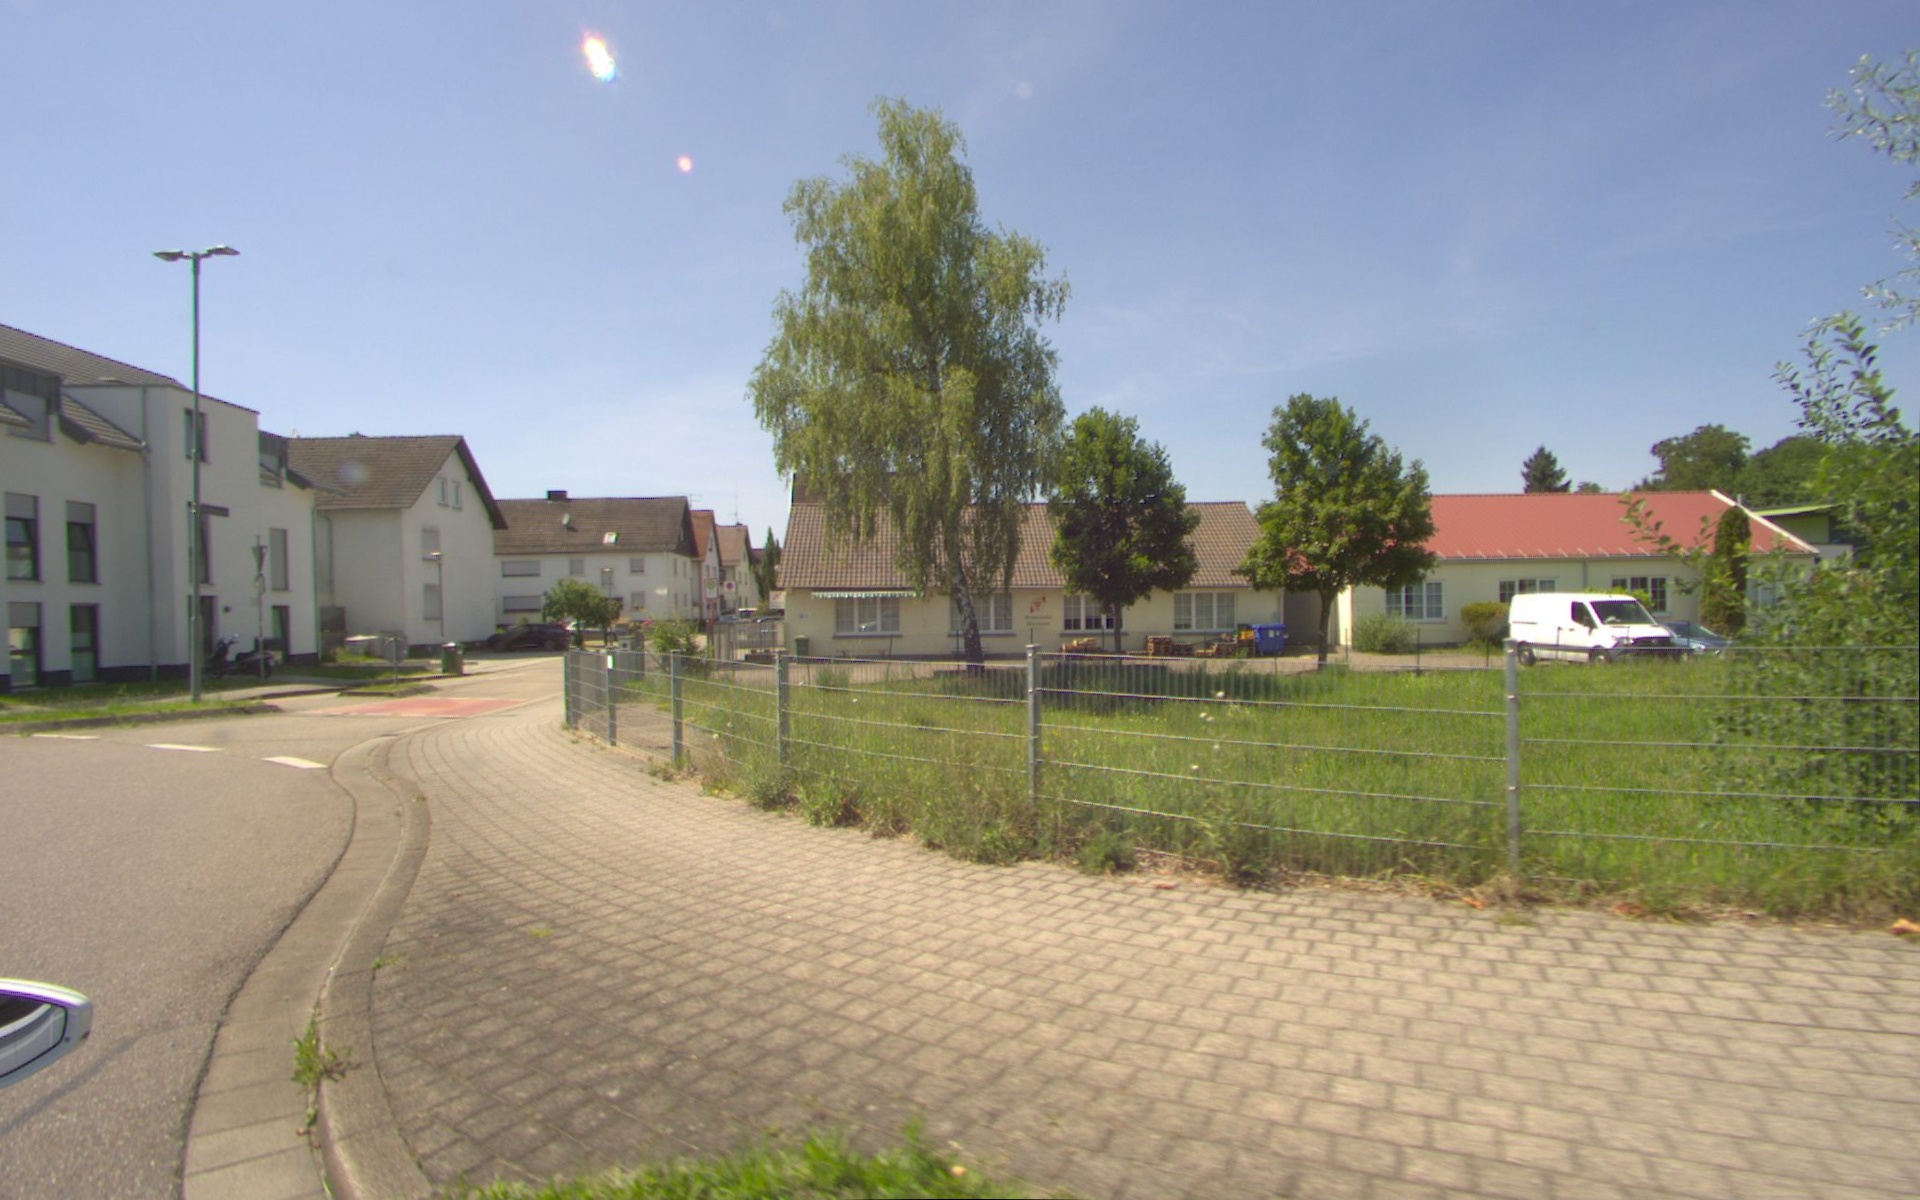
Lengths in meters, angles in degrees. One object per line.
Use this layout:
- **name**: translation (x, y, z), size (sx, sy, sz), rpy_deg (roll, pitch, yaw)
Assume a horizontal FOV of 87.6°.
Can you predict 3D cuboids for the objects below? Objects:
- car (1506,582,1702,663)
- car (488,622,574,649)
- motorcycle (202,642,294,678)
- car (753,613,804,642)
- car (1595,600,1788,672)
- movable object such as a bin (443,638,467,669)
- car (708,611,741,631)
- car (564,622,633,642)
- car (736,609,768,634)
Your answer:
- **car**: translation (19.539, 0.720, 30.747), size (2.173, 2.229, 5.185), rpy_deg (-1, -2, -8)
- **car**: translation (-22.897, 1.881, 53.546), size (3.923, 1.401, 1.660), rpy_deg (-1, -1, -6)
- **motorcycle**: translation (-21.621, 1.818, 30.435), size (2.322, 1.026, 0.672), rpy_deg (-1, -2, 0)
- **car**: translation (-10.243, 1.558, 56.718), size (2.700, 1.618, 1.172), rpy_deg (-1, -1, -4)
- **car**: translation (22.778, 1.129, 31.486), size (2.030, 2.039, 4.934), rpy_deg (-1, -2, -7)
- **movable object such as a bin**: translation (-18.366, 1.931, 36.428), size (0.634, 1.098, 0.459), rpy_deg (0, 0, 4)
- **car**: translation (-19.596, 1.747, 83.568), size (1.961, 1.573, 4.000), rpy_deg (0, -1, -3)
- **car**: translation (-23.956, 2.110, 66.489), size (3.923, 1.206, 1.840), rpy_deg (0, 0, -6)
- **car**: translation (-16.194, 1.717, 78.024), size (1.821, 1.809, 4.002), rpy_deg (-1, -2, -4)
